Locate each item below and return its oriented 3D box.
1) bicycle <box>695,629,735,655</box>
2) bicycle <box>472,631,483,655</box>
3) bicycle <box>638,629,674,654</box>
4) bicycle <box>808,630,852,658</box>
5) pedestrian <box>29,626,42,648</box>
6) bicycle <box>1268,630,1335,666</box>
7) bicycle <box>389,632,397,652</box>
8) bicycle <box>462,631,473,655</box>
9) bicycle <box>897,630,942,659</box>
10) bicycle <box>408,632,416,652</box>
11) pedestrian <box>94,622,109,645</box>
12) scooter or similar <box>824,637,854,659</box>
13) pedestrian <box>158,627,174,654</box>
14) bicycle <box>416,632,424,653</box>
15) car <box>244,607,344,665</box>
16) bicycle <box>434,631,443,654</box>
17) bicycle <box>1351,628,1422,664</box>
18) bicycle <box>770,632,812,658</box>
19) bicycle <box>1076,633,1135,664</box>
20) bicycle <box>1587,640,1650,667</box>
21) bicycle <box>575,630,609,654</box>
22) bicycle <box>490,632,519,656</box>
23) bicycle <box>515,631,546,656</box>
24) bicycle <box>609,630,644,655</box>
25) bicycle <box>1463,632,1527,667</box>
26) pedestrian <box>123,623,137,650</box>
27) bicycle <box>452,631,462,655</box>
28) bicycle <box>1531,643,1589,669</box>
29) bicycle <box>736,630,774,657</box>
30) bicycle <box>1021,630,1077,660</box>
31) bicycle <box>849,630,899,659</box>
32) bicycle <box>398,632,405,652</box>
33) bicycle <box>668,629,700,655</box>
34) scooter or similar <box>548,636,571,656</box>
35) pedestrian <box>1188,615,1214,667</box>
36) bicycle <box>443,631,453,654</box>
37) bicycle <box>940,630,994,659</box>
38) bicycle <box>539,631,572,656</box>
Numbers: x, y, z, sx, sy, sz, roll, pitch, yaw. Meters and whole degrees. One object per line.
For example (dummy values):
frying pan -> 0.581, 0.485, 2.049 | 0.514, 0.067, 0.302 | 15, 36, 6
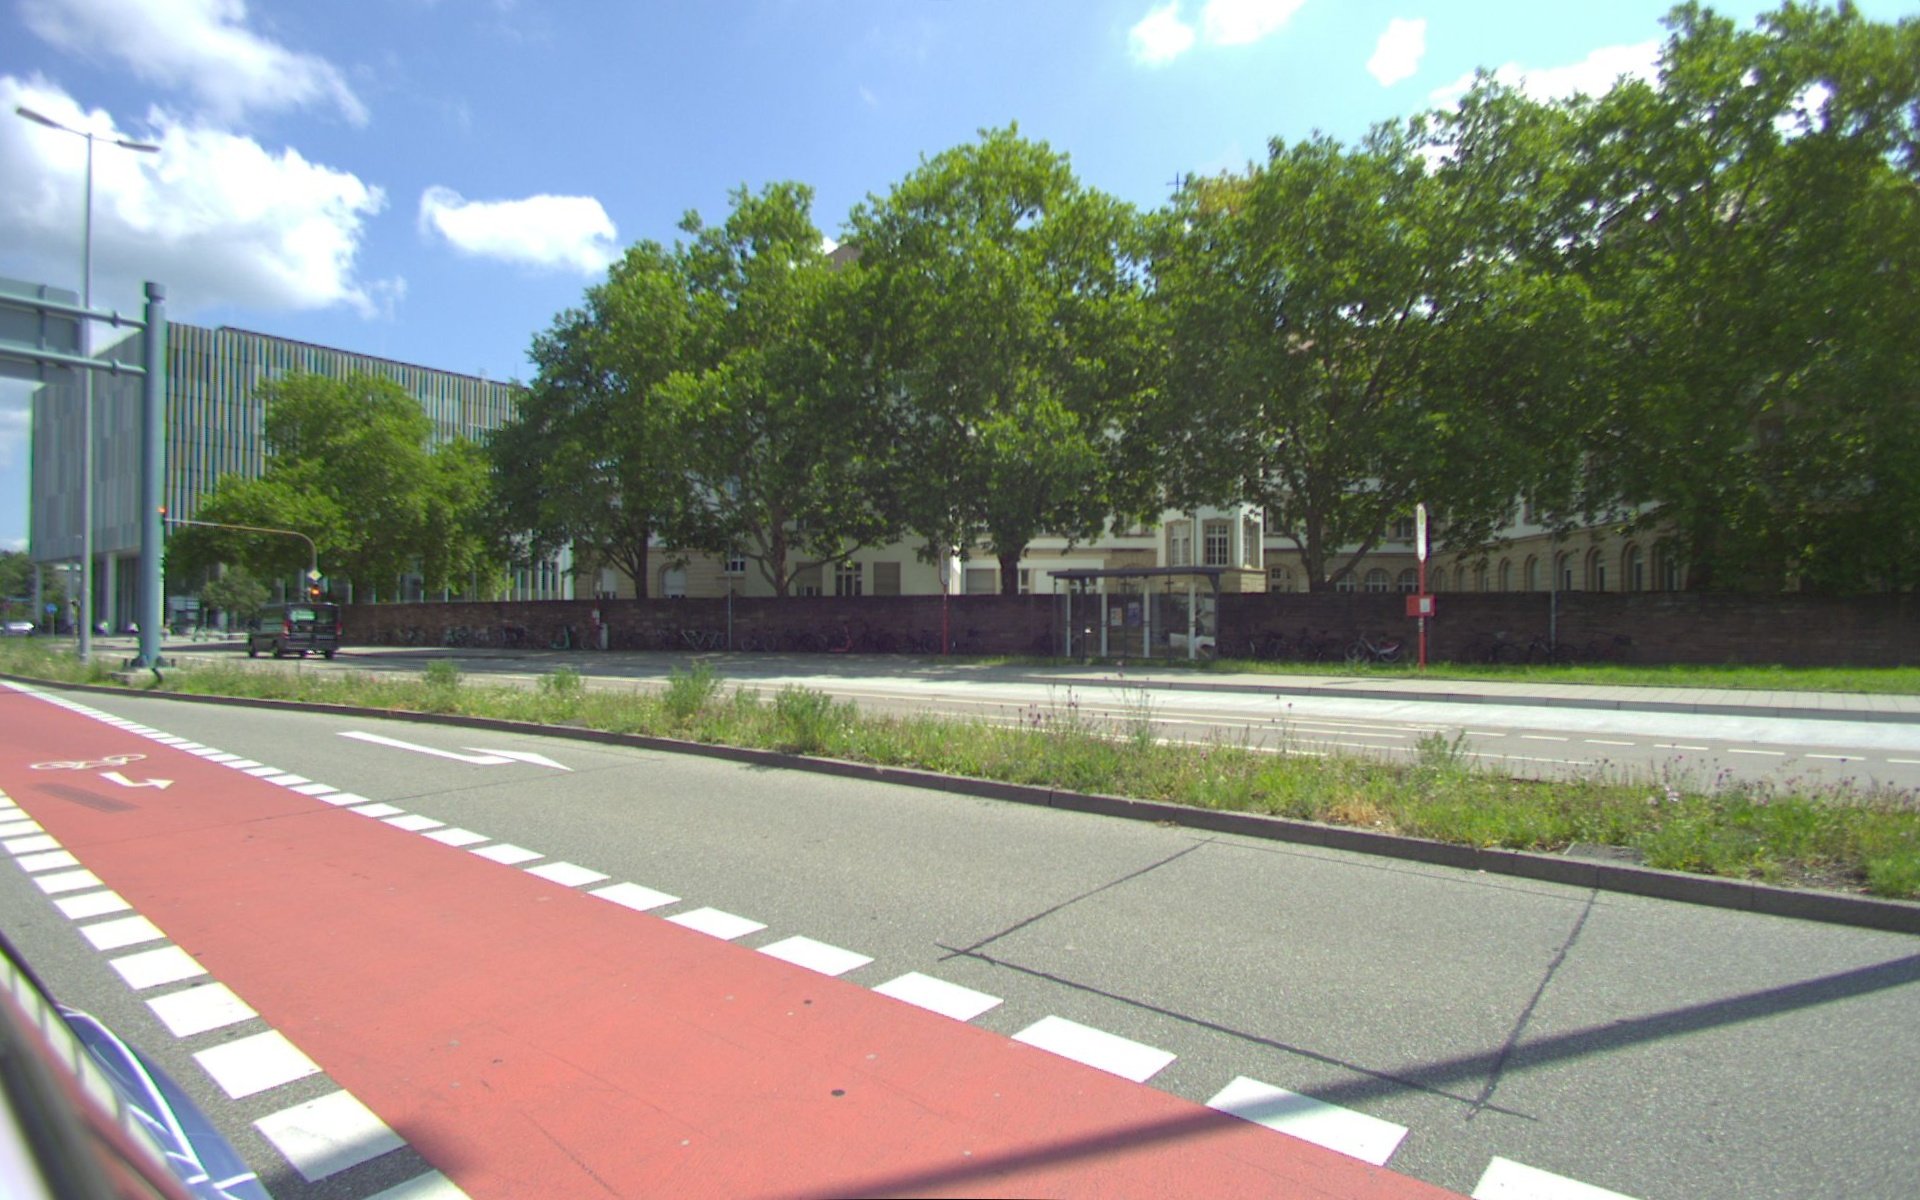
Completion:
bicycle -> -10.029, 1.710, 41.376 | 1.752, 1.051, 0.394 | -1, -2, 26
bicycle -> -23.215, 2.072, 48.658 | 0.376, 1.116, 1.675 | 1, -2, -29
bicycle -> -12.881, 1.747, 42.852 | 1.662, 1.051, 0.379 | -1, -2, 28
bicycle -> -5.008, 1.694, 38.920 | 1.751, 1.051, 0.395 | -1, -2, 25
pedestrian -> -81.808, 3.297, 89.562 | 0.806, 1.931, 0.707 | -1, 0, 35
bicycle -> 11.082, 1.546, 32.858 | 2.021, 1.146, 0.396 | 0, -2, 16
bicycle -> -29.454, 2.165, 52.591 | 0.324, 1.025, 1.675 | 1, -2, -29
bicycle -> -23.879, 2.077, 49.040 | 0.376, 1.116, 1.675 | 1, -2, -29
bicycle -> -1.506, 1.626, 37.421 | 1.628, 1.051, 0.395 | -1, -2, 21
bicycle -> -28.019, 2.144, 51.726 | 0.324, 1.025, 1.675 | 1, -2, -29
pedestrian -> -74.523, 2.907, 87.815 | 0.806, 1.931, 0.816 | -1, 0, 35
scooter or similar -> -4.548, 1.798, 38.004 | 1.060, 0.800, 0.351 | 0, -2, 16
pedestrian -> -57.459, 2.942, 73.236 | 0.806, 1.931, 0.707 | -1, 0, 35
bicycle -> -27.407, 2.141, 51.348 | 0.324, 1.025, 1.675 | 1, -2, -29
car -> -26.781, 1.454, 40.632 | 4.518, 2.188, 2.185 | -2, -3, 41
bicycle -> -25.791, 2.095, 50.041 | 0.376, 1.116, 1.675 | 1, -2, -29
bicycle -> 13.532, 1.458, 32.174 | 2.021, 1.146, 0.396 | 0, -2, 16
bicycle -> -6.641, 1.750, 39.710 | 1.752, 1.011, 0.394 | -1, -2, 26
bicycle -> 4.986, 1.646, 34.737 | 1.944, 1.051, 0.395 | -1, -2, 21
bicycle -> 19.834, 1.596, 30.510 | 1.529, 0.795, 0.396 | 0, -2, 14
bicycle -> -16.198, 1.829, 44.526 | 1.662, 1.051, 0.379 | -1, -2, 28
bicycle -> -21.560, 2.071, 47.870 | 1.664, 1.116, 0.378 | -1, -2, 31
bicycle -> -19.853, 2.014, 46.779 | 1.663, 1.116, 0.379 | -1, -2, 30
bicycle -> -14.393, 1.818, 43.676 | 1.662, 1.051, 0.379 | -1, -2, 28
bicycle -> 16.540, 1.525, 31.315 | 1.671, 1.038, 0.396 | 0, -2, 14
pedestrian -> -59.404, 2.592, 72.437 | 0.717, 1.932, 0.624 | -1, 0, 37
bicycle -> -24.602, 2.086, 49.515 | 0.376, 1.116, 1.675 | 1, -2, -29
bicycle -> 18.310, 1.702, 30.884 | 1.452, 0.795, 0.396 | 0, -2, 14
bicycle -> -8.190, 1.741, 40.478 | 1.575, 1.051, 0.394 | -1, -2, 26
bicycle -> 3.111, 1.563, 35.494 | 1.944, 1.051, 0.395 | -1, -2, 21
bicycle -> -3.241, 1.664, 38.114 | 1.945, 1.051, 0.395 | -1, -2, 24
bicycle -> -28.812, 2.162, 52.222 | 0.324, 1.025, 1.675 | 1, -2, -29
bicycle -> -11.491, 1.732, 42.137 | 1.409, 1.051, 0.374 | -1, -2, 26
scooter or similar -> -17.726, 2.030, 44.811 | 1.064, 0.850, 0.350 | -1, -2, 27
pedestrian -> 7.714, 1.310, 32.435 | 0.773, 1.623, 0.720 | 0, -2, 11
bicycle -> -25.293, 2.091, 49.958 | 0.376, 1.116, 1.675 | 1, -2, -29
bicycle -> 0.255, 1.615, 36.727 | 1.944, 1.051, 0.395 | -1, -2, 21
bicycle -> -18.376, 1.958, 45.949 | 1.662, 1.116, 0.379 | -1, -2, 28
